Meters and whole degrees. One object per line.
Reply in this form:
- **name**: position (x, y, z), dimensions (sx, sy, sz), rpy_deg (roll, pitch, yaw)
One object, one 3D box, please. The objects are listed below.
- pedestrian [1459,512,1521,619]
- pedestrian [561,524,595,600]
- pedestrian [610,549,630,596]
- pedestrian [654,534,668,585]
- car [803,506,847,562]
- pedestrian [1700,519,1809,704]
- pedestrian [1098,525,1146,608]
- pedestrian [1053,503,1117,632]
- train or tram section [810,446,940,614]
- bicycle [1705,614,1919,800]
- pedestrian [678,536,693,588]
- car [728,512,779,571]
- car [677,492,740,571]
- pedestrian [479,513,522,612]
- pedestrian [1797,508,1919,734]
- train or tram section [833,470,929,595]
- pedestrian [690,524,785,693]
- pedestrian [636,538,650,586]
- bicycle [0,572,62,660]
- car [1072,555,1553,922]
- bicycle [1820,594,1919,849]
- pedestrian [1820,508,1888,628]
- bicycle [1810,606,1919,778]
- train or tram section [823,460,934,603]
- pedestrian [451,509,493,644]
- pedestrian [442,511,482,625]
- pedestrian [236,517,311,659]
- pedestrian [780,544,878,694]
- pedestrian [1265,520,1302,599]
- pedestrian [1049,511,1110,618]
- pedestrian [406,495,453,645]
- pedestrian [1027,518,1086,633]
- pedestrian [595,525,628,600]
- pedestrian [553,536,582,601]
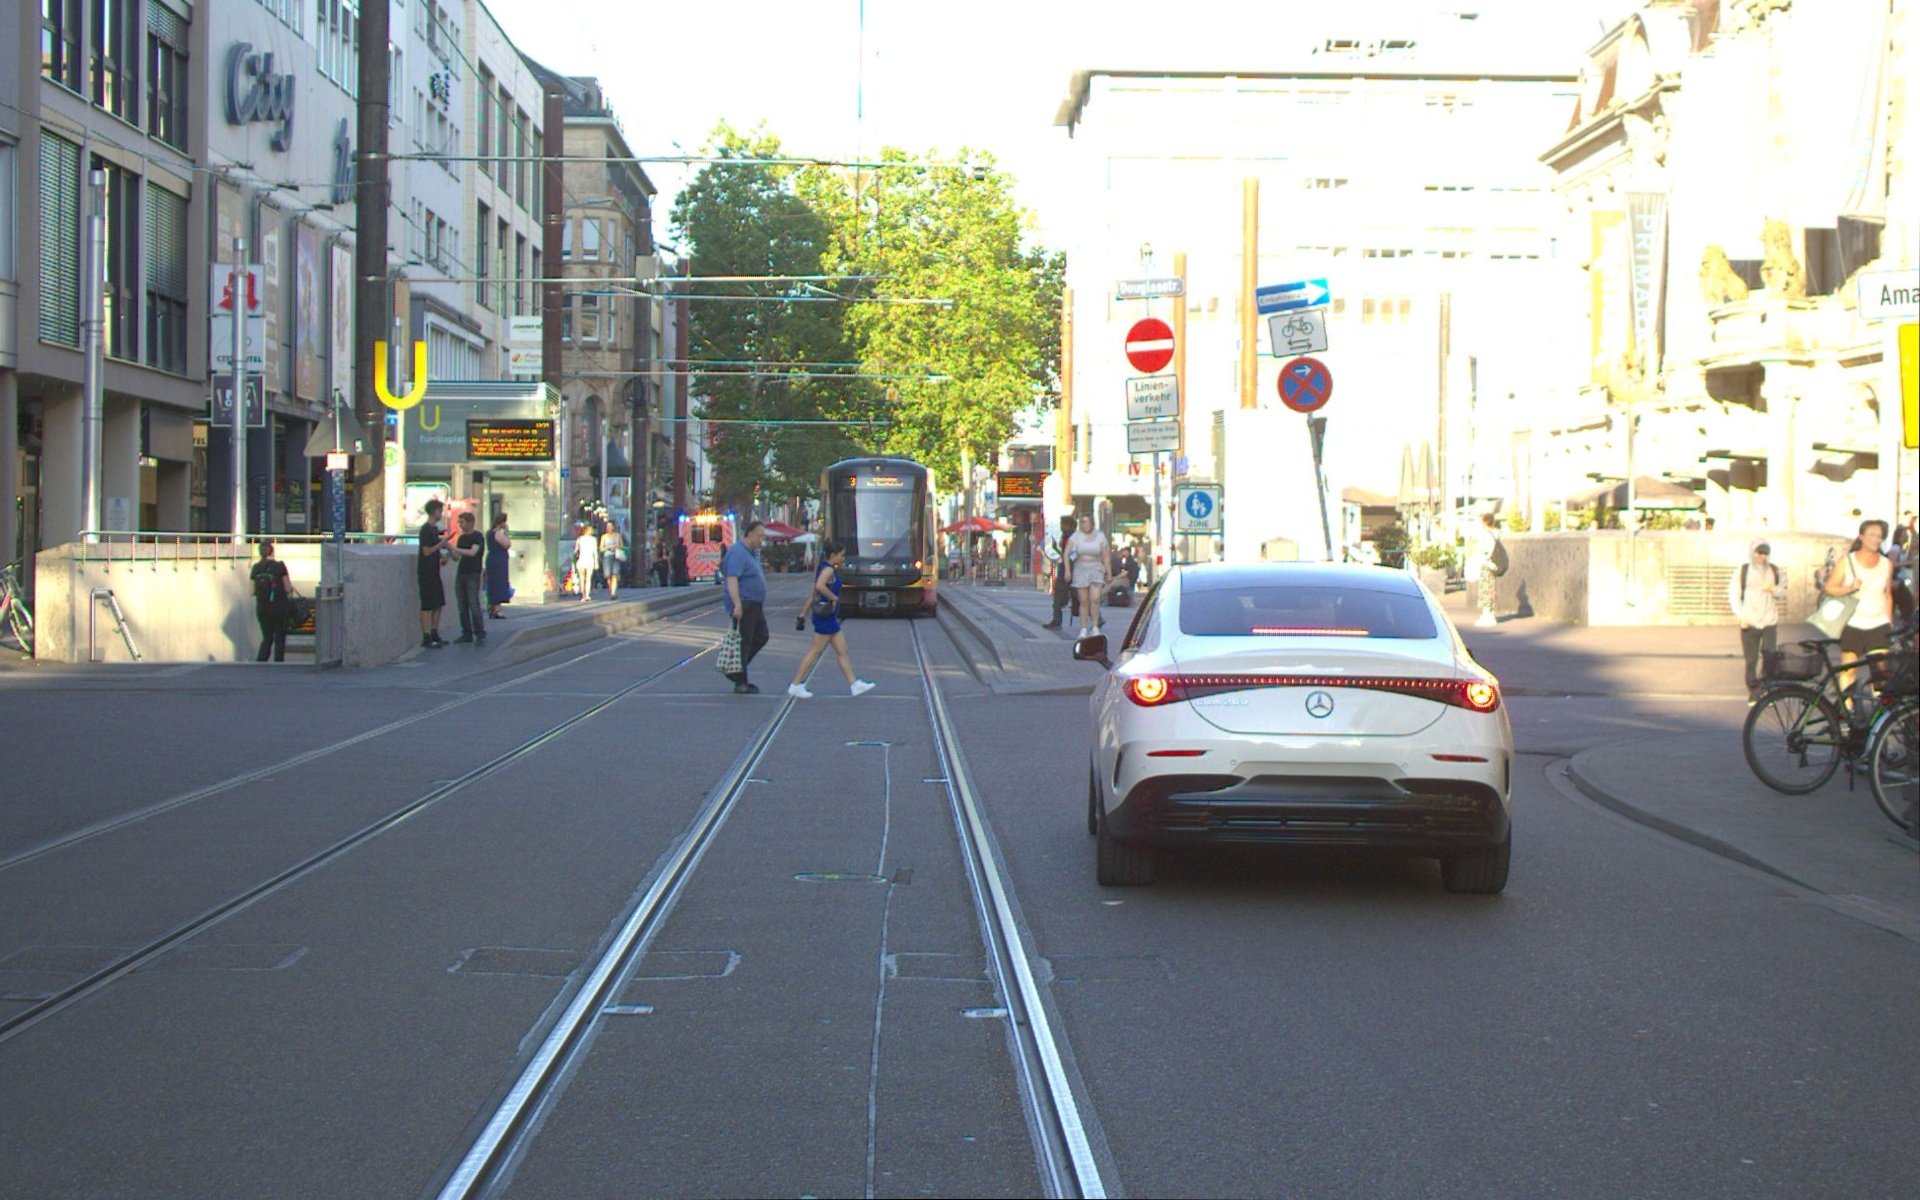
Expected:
- **pedestrian**: position (8.415, -0.553, 54.599), dimensions (0.817, 1.679, 0.804), rpy_deg (-1, 1, -1)
- **pedestrian**: position (-8.092, -0.805, 72.822), dimensions (0.660, 1.593, 0.573), rpy_deg (0, 1, -2)
- **pedestrian**: position (-11.722, -0.957, 118.526), dimensions (0.604, 1.624, 0.415), rpy_deg (0, 1, -16)
- **pedestrian**: position (-9.714, -1.319, 111.798), dimensions (0.414, 1.624, 0.606), rpy_deg (0, 1, -1)
- **car**: position (-7.033, -3.440, 179.630), dimensions (2.099, 2.887, 5.275), rpy_deg (0, 1, -1)
- **pedestrian**: position (7.779, 0.105, 33.681), dimensions (0.840, 1.779, 0.804), rpy_deg (-1, 1, -1)
- **pedestrian**: position (3.543, -0.740, 75.047), dimensions (0.960, 1.779, 0.804), rpy_deg (-1, 1, -1)
- **pedestrian**: position (1.653, -0.433, 45.594), dimensions (0.746, 1.692, 0.840), rpy_deg (0, 1, -3)
- **train or tram section**: position (-1.902, -1.573, 78.392), dimensions (2.694, 3.504, 12.546), rpy_deg (0, 1, -1)
- **bicycle**: position (5.659, 0.648, 20.923), dimensions (2.113, 1.092, 0.610), rpy_deg (1, 0, -12)
- **pedestrian**: position (-8.619, -1.209, 107.892), dimensions (0.414, 1.624, 0.606), rpy_deg (0, 1, -1)
- **car**: position (-8.858, -2.510, 147.570), dimensions (1.910, 2.452, 5.275), rpy_deg (0, 1, -1)
- **car**: position (-9.394, -2.554, 128.773), dimensions (1.993, 2.887, 5.275), rpy_deg (0, 1, -1)
- **pedestrian**: position (-7.206, -0.594, 53.950), dimensions (0.615, 1.539, 0.651), rpy_deg (0, 1, -3)
- **pedestrian**: position (7.217, 0.162, 27.640), dimensions (0.748, 1.779, 0.767), rpy_deg (-1, 1, -1)
- **train or tram section**: position (-2.336, -2.004, 102.781), dimensions (2.694, 3.504, 11.144), rpy_deg (0, 1, -1)
- **pedestrian**: position (-2.263, 0.081, 35.104), dimensions (0.905, 1.692, 0.849), rpy_deg (0, 1, 0)
- **pedestrian**: position (-10.788, -1.296, 116.927), dimensions (0.414, 1.624, 0.606), rpy_deg (0, 1, -1)
- **bicycle**: position (-11.428, 0.183, 40.632), dimensions (0.719, 1.006, 2.038), rpy_deg (1, 1, 13)
- **car**: position (1.525, 0.546, 16.320), dimensions (1.857, 1.450, 4.175), rpy_deg (2, 1, 1)
- **bicycle**: position (5.520, 0.601, 17.944), dimensions (1.907, 1.277, 0.610), rpy_deg (-1, 1, -12)
- **pedestrian**: position (13.529, -0.492, 52.054), dimensions (0.722, 1.779, 1.005), rpy_deg (-1, 1, -1)
- **bicycle**: position (6.674, 0.588, 22.464), dimensions (2.113, 1.092, 0.610), rpy_deg (0, 1, -12)
- **train or tram section**: position (-2.121, -1.797, 90.943), dimensions (2.694, 3.504, 12.546), rpy_deg (0, 1, -1)
- **pedestrian**: position (-6.365, -0.309, 44.838), dimensions (0.519, 1.754, 0.551), rpy_deg (0, 1, -6)
- **pedestrian**: position (-7.054, -0.457, 48.741), dimensions (0.531, 1.608, 0.541), rpy_deg (0, 1, -6)
- **pedestrian**: position (-8.352, -0.155, 41.848), dimensions (0.782, 1.711, 0.840), rpy_deg (0, 1, -3)
- **pedestrian**: position (-1.317, 0.179, 34.783), dimensions (0.955, 1.491, 0.944), rpy_deg (0, 1, 0)
- **pedestrian**: position (7.351, -0.931, 78.084), dimensions (0.727, 1.779, 0.707), rpy_deg (1, 1, -1)
- **pedestrian**: position (2.026, -0.607, 58.618), dimensions (0.960, 1.779, 0.804), rpy_deg (-1, 1, -1)
- **pedestrian**: position (-6.870, -0.389, 44.542), dimensions (0.571, 1.922, 0.541), rpy_deg (0, 1, -6)
- **pedestrian**: position (1.399, -0.364, 50.101), dimensions (0.838, 1.656, 0.785), rpy_deg (0, 1, 1)
- **pedestrian**: position (-7.393, -0.795, 72.907), dimensions (0.660, 1.593, 0.573), rpy_deg (0, 1, -2)
- **pedestrian**: position (-9.595, -0.776, 84.057), dimensions (0.660, 1.593, 0.573), rpy_deg (0, 1, -2)
